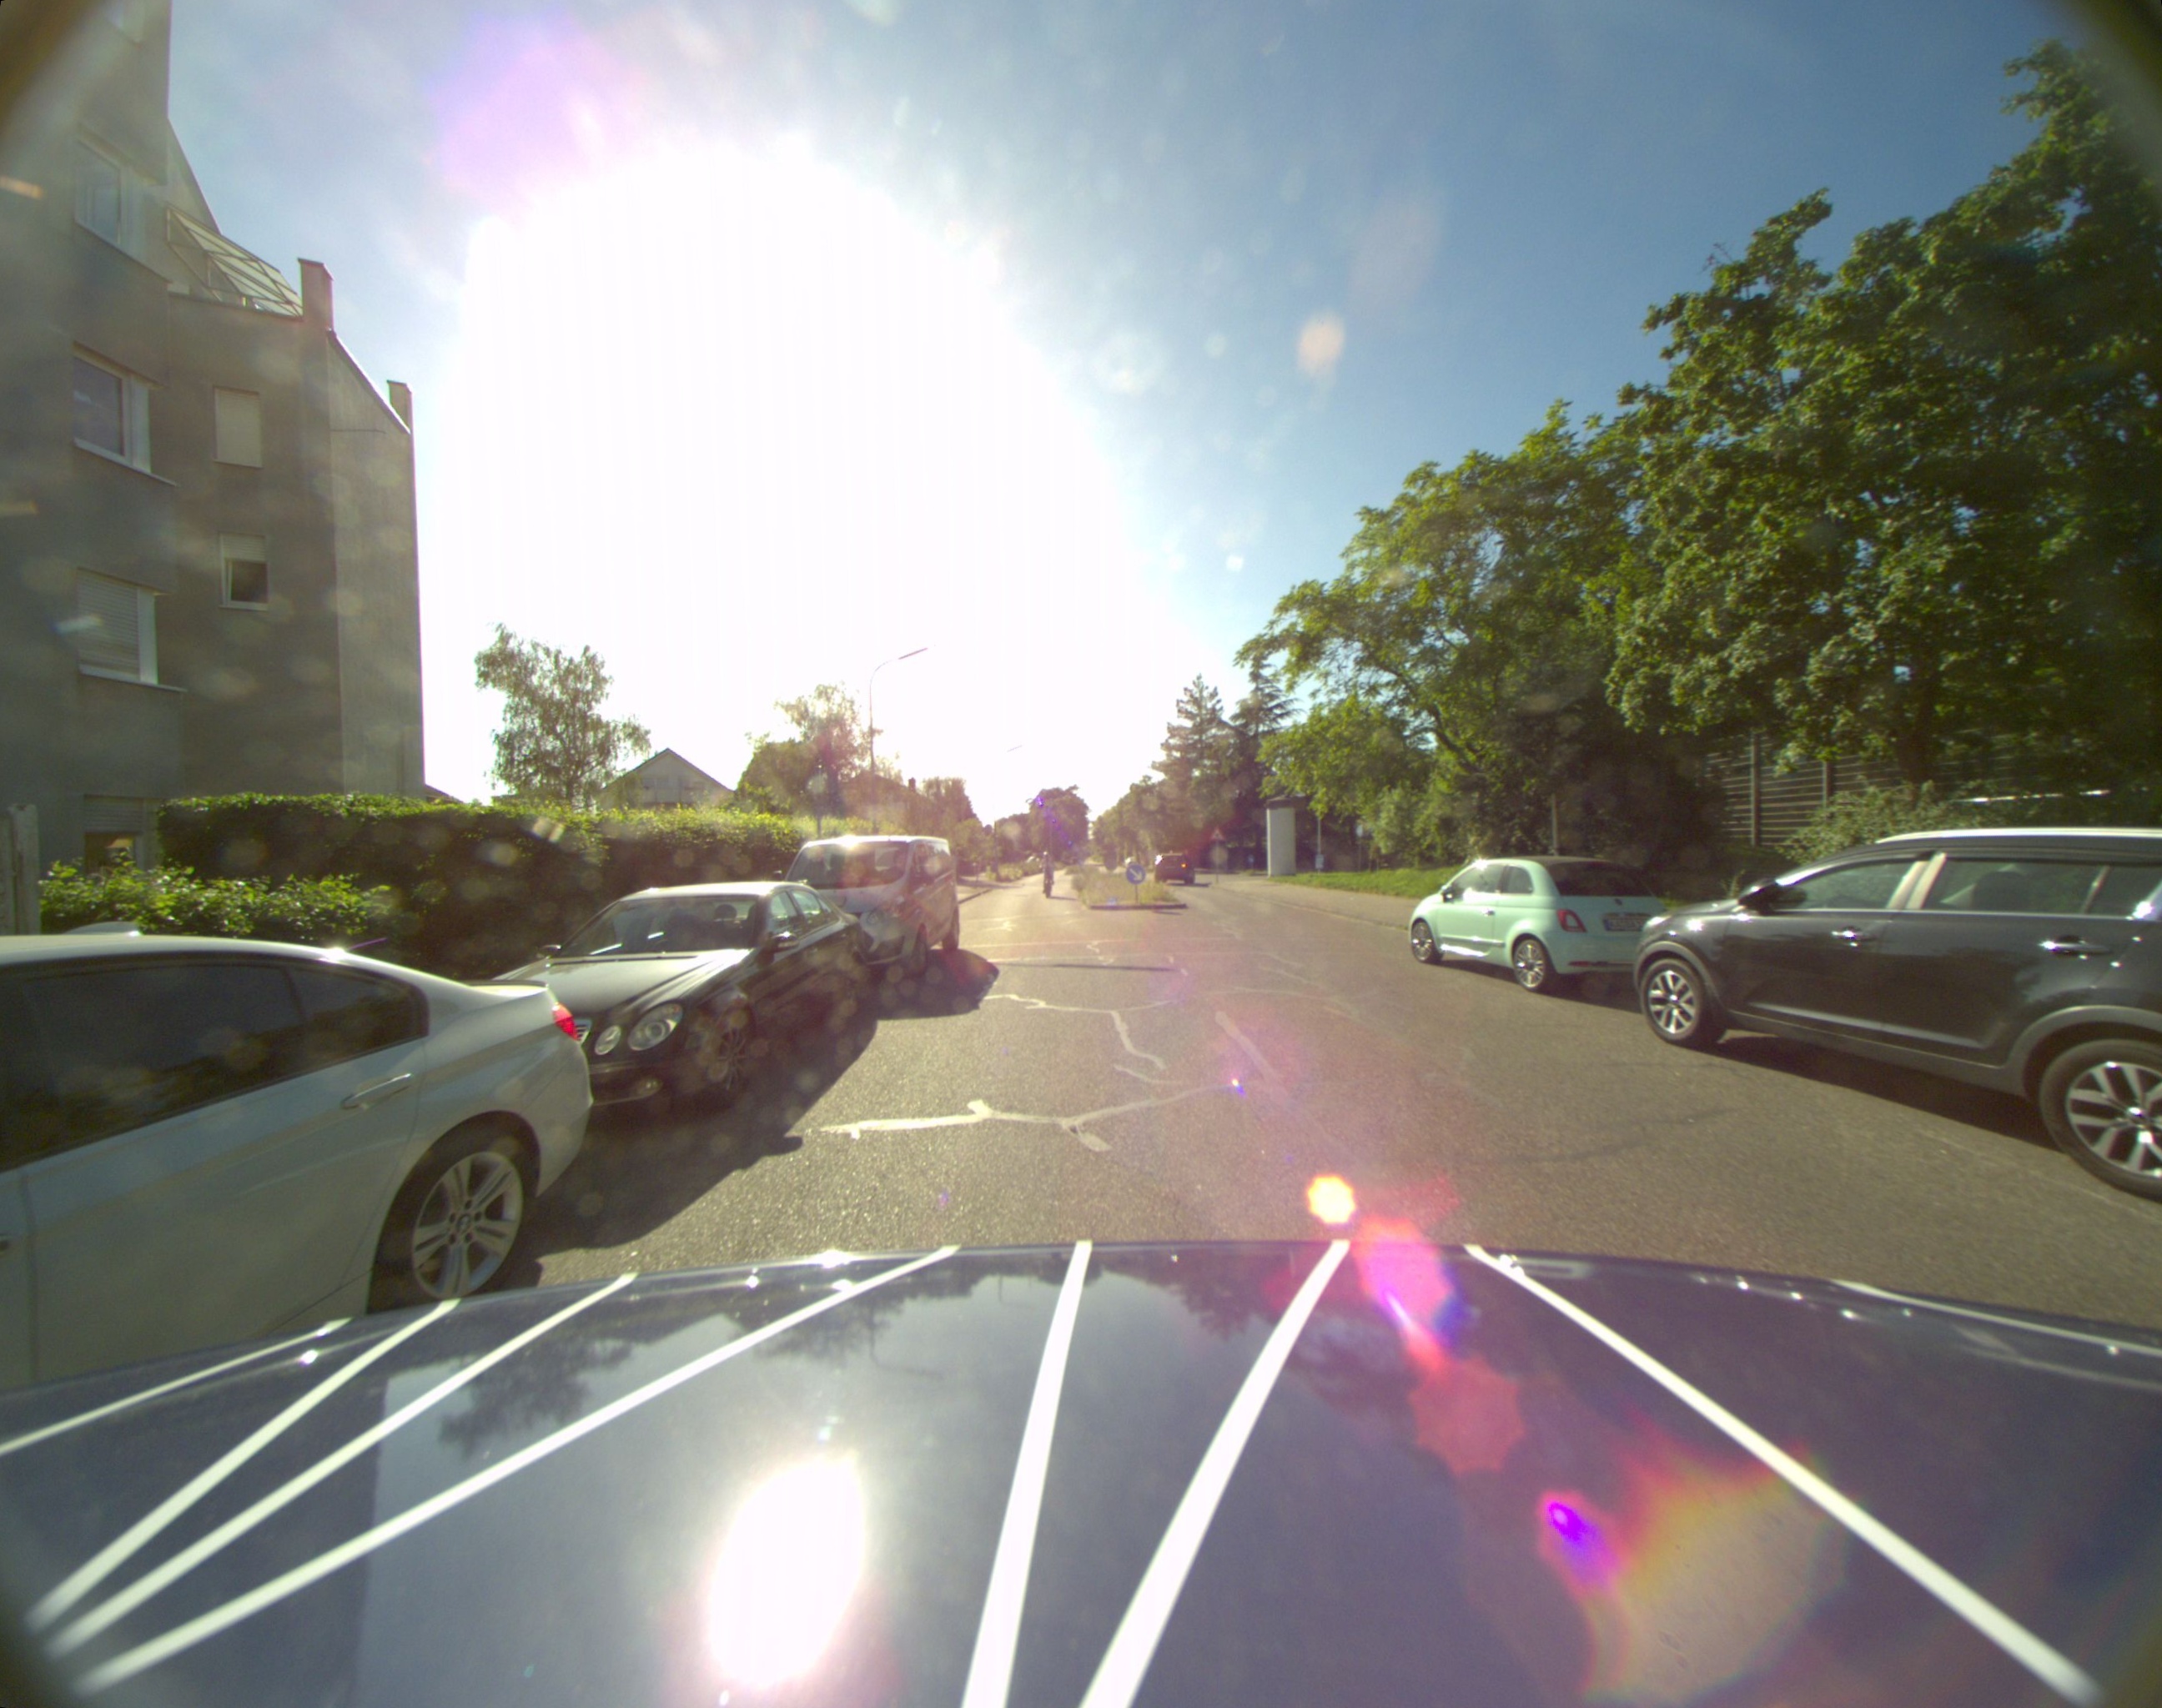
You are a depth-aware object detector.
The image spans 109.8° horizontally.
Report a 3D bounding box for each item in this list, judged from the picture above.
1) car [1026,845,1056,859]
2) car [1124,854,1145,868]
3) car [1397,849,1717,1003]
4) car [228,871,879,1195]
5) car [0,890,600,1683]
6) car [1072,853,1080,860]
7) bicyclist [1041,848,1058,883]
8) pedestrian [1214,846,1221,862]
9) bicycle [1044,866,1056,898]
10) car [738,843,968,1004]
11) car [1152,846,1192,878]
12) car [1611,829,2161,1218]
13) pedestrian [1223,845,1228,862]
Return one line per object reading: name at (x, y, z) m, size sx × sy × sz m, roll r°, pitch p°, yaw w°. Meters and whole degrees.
car at (-5.419, -0.269, 102.760) m, size 3.657 × 1.707 × 1.744 m, roll -2°, pitch 1°, yaw -36°
car at (6.672, 0.843, 95.474) m, size 1.999 × 1.649 × 3.997 m, roll -1°, pitch 1°, yaw -6°
car at (5.551, 0.717, 9.406) m, size 1.631 × 1.519 × 3.417 m, roll -1°, pitch 0°, yaw -5°
car at (-3.279, 0.950, 6.270) m, size 1.999 × 1.409 × 4.922 m, roll -1°, pitch 1°, yaw -2°
car at (-3.143, 0.943, 1.158) m, size 1.914 × 1.480 × 4.375 m, roll -1°, pitch 1°, yaw 1°
car at (-1.297, 0.594, 194.371) m, size 1.998 × 1.805 × 3.999 m, roll -1°, pitch 1°, yaw 0°
bicyclist at (-1.244, 0.438, 29.779) m, size 0.638 × 1.339 × 0.838 m, roll -1°, pitch 1°, yaw -3°
pedestrian at (12.866, 0.028, 71.737) m, size 0.539 × 1.512 × 0.395 m, roll -2°, pitch 1°, yaw -24°
bicycle at (-1.215, 1.073, 29.660) m, size 0.458 × 1.138 × 1.897 m, roll -1°, pitch 1°, yaw -3°
car at (-3.111, 0.807, 11.644) m, size 1.999 × 1.901 × 4.952 m, roll -1°, pitch 1°, yaw 0°
car at (4.943, 0.411, 41.839) m, size 1.917 × 1.695 × 4.186 m, roll 0°, pitch 1°, yaw 3°
car at (5.382, 0.702, 4.416) m, size 1.678 × 1.629 × 4.250 m, roll 0°, pitch 0°, yaw 1°
pedestrian at (13.619, -0.021, 71.436) m, size 0.396 × 1.552 × 0.538 m, roll -1°, pitch 2°, yaw 3°
